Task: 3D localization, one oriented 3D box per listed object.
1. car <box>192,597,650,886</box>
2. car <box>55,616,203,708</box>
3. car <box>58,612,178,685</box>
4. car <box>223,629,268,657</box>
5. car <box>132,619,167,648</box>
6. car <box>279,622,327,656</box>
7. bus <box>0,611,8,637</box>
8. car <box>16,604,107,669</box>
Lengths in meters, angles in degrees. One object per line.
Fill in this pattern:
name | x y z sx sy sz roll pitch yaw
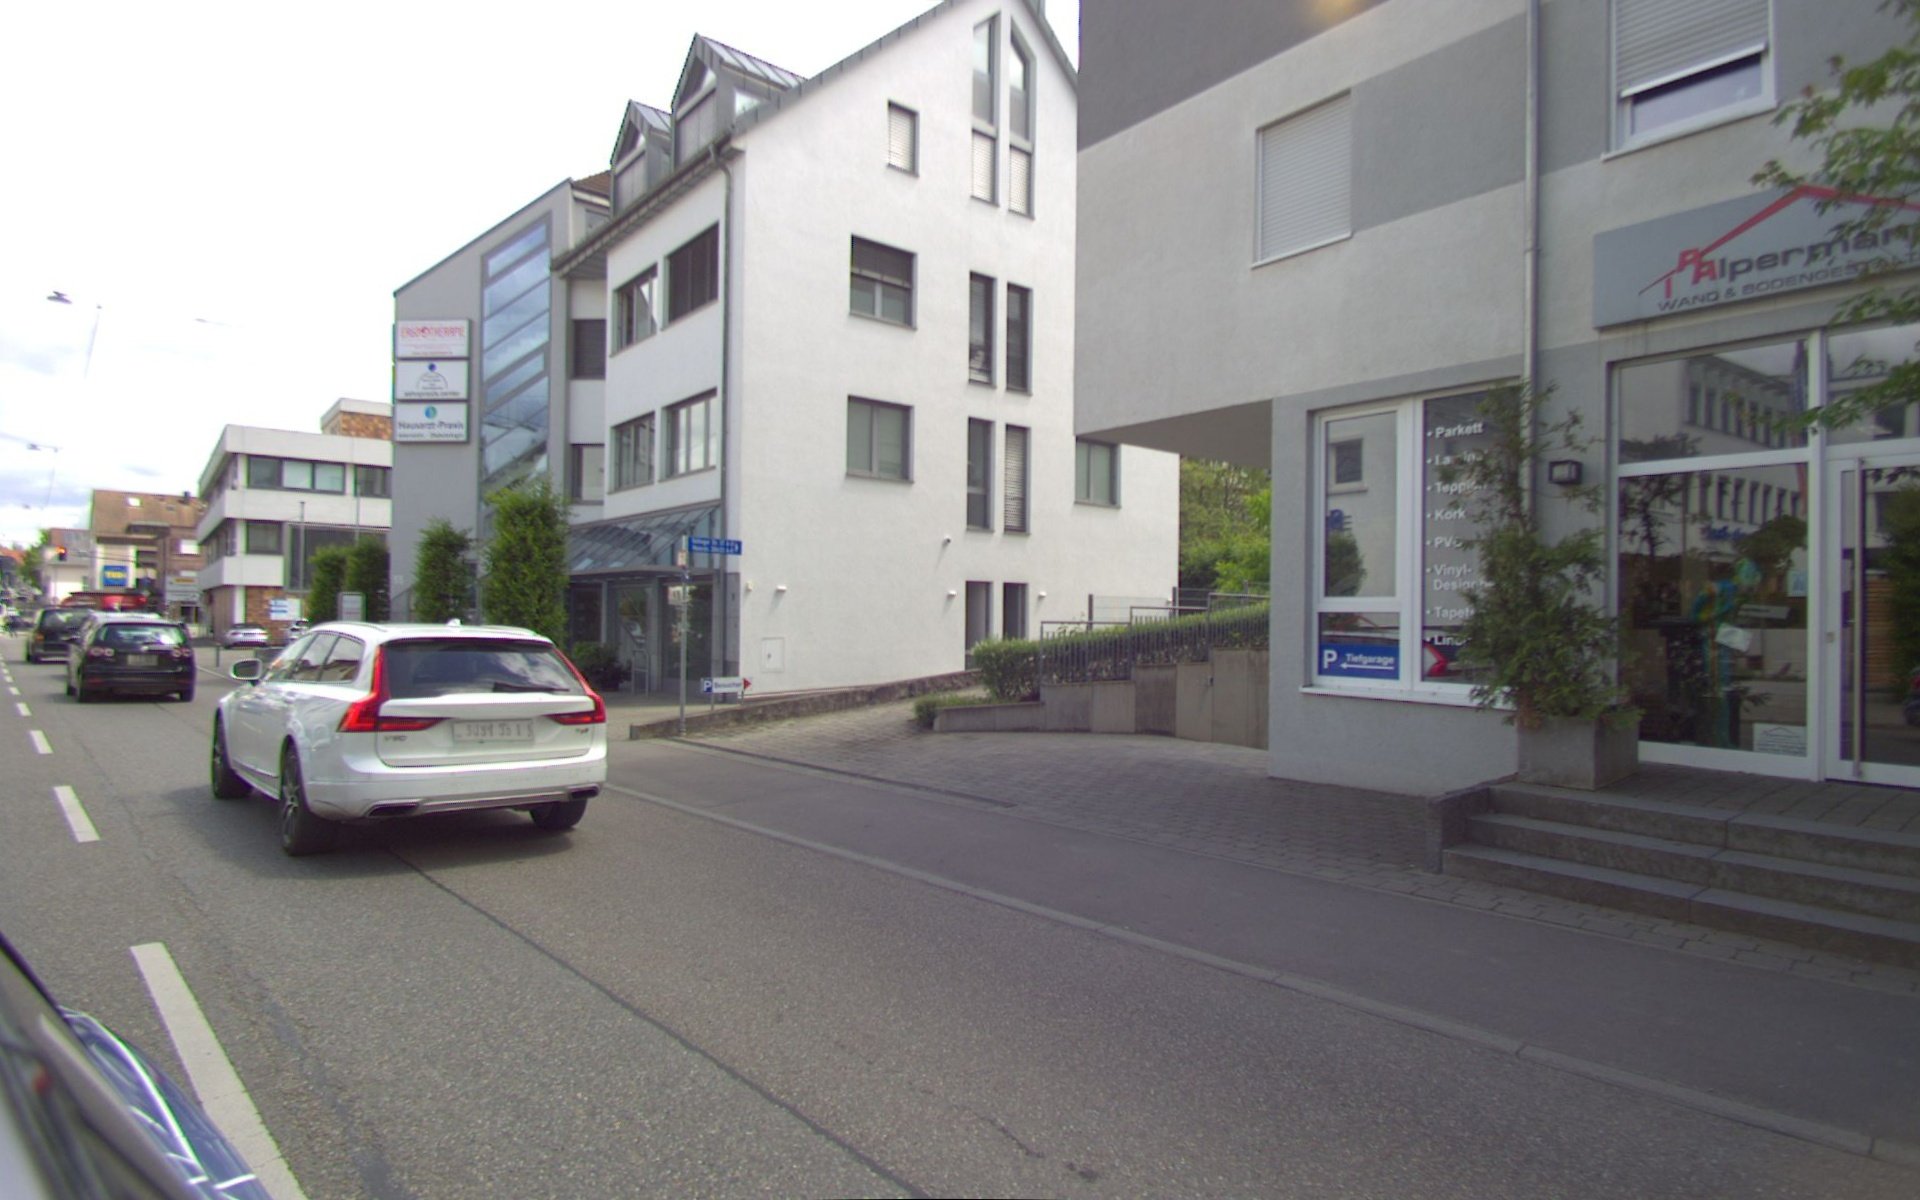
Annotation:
car | -4.460 0.871 7.932 1.875 1.571 4.804 5 -4 -44
car | -16.178 1.160 19.637 1.810 1.596 4.040 4 -4 -44
car | -22.343 1.269 26.782 1.963 1.751 4.799 5 -4 -45
car | -37.563 2.209 53.166 1.796 1.338 4.245 0 -1 -37
car | -53.611 2.173 66.989 1.676 1.790 4.471 0 -1 -37
car | -35.420 2.069 54.526 1.868 1.710 3.809 4 -3 -37
bus | -122.425 2.991 127.726 3.089 3.282 9.756 1 -1 -45
car | -32.163 1.309 36.180 4.885 2.168 2.087 -2 -3 45
